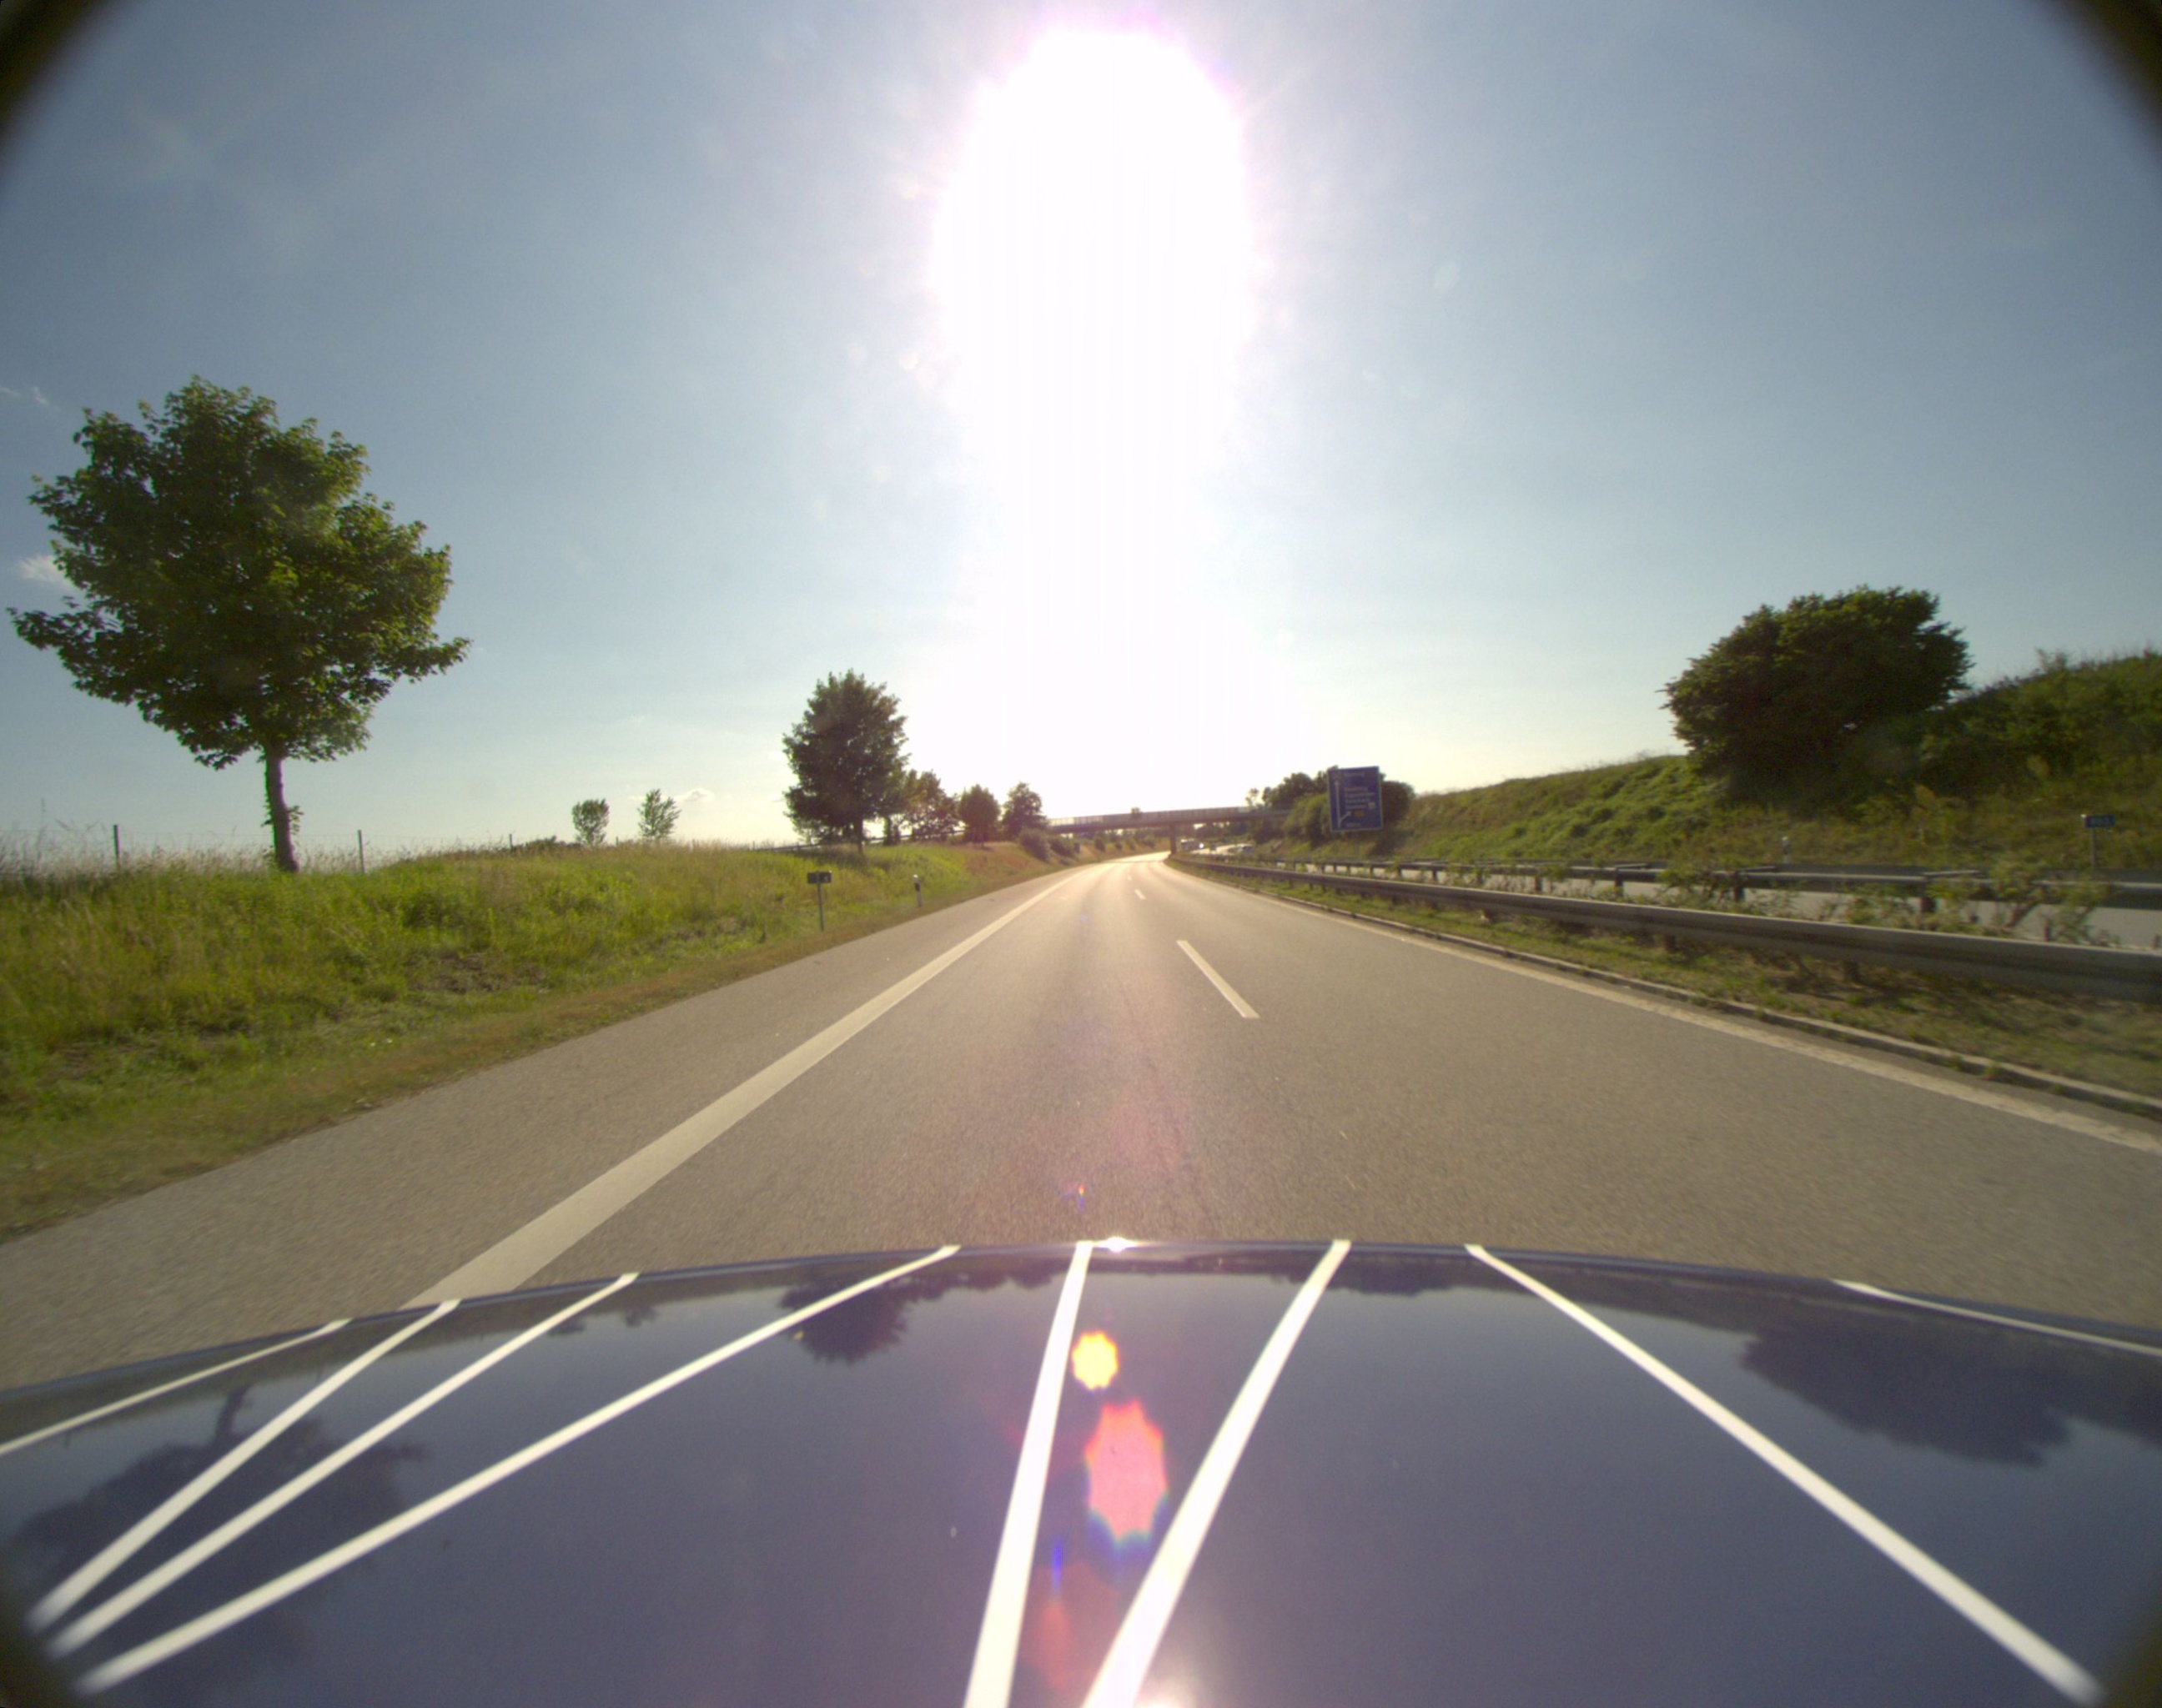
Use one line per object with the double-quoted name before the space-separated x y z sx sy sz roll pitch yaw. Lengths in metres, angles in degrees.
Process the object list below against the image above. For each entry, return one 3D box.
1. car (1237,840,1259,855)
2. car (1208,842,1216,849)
"car" 18.765 -0.730 85.542 1.860 1.589 4.001 -2 1 4
"car" 36.577 -2.425 211.958 1.860 1.846 4.624 -2 1 6
